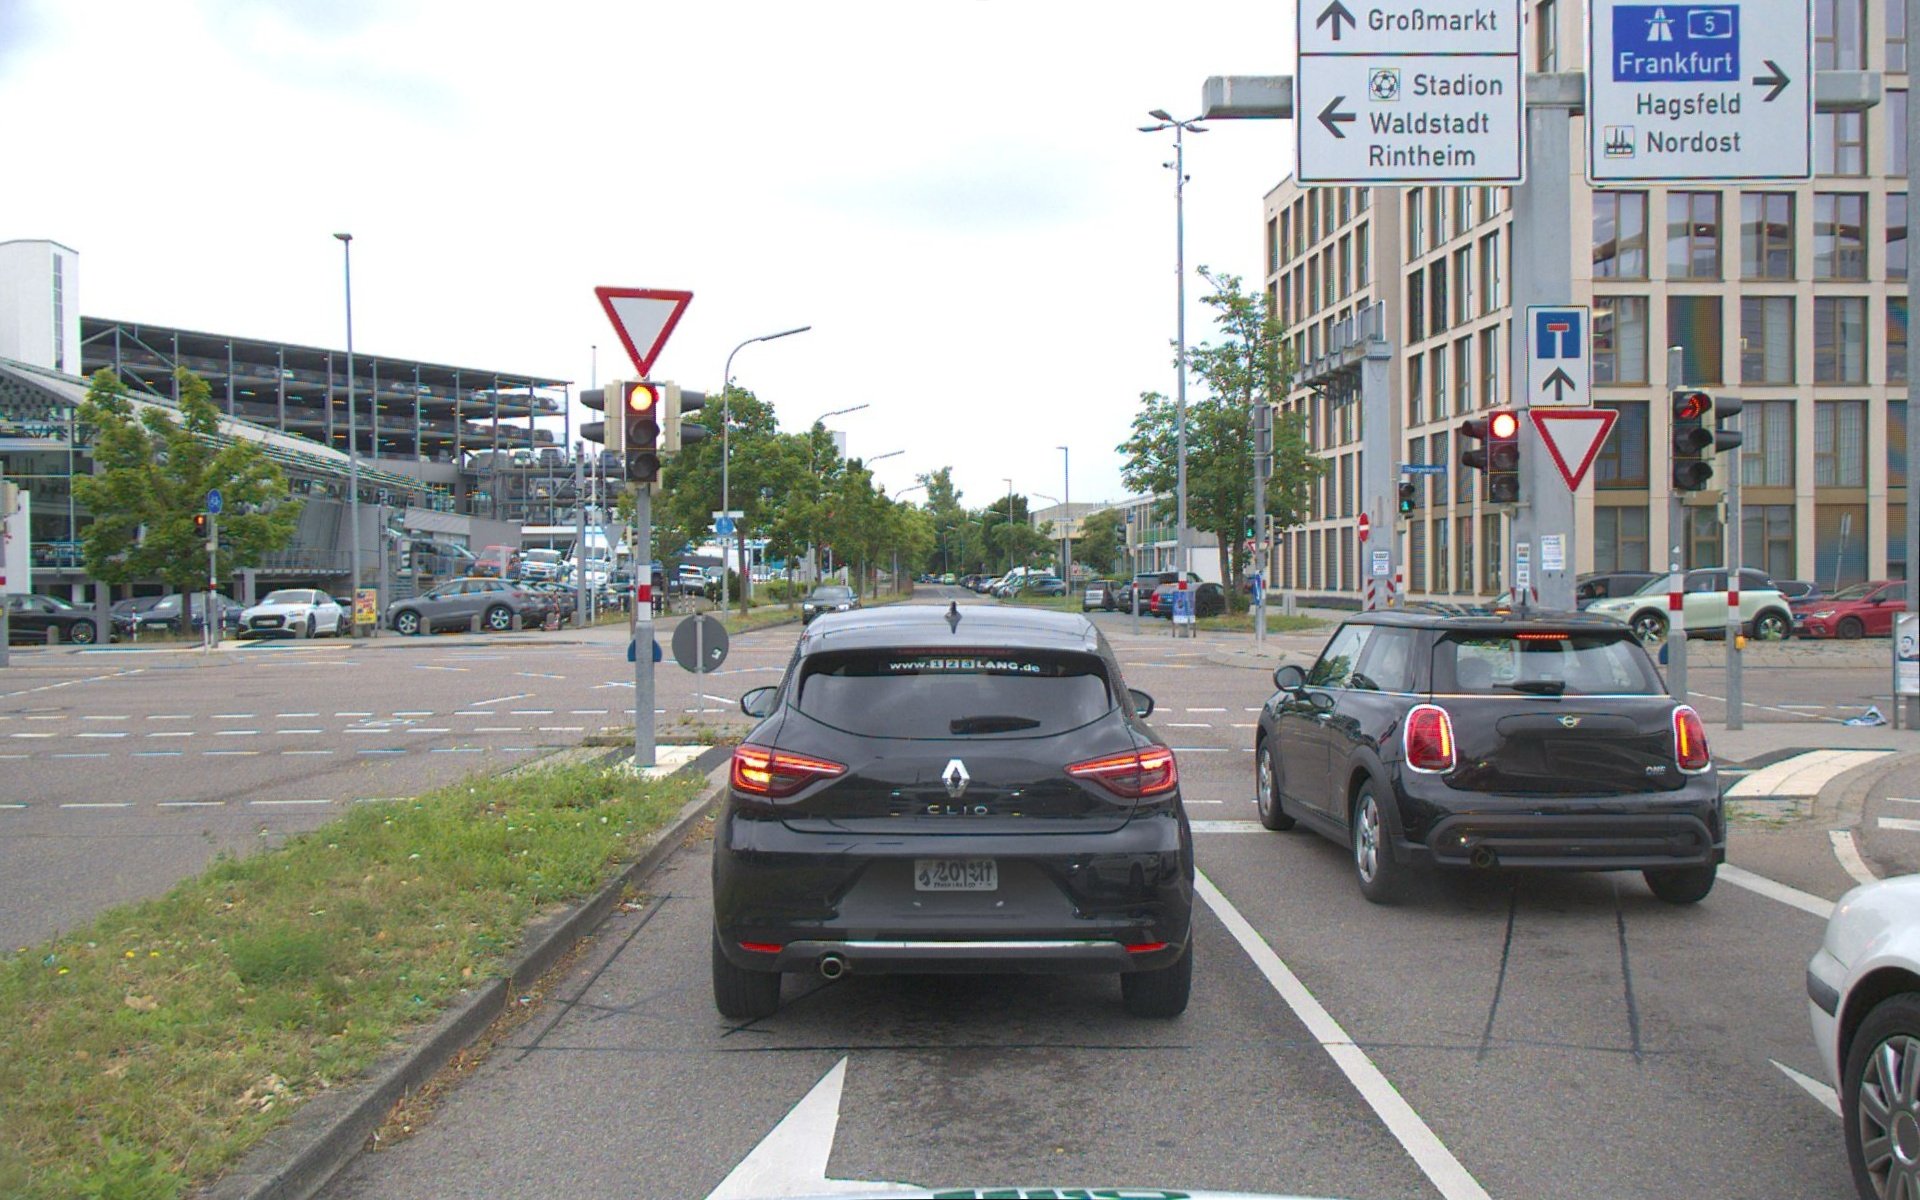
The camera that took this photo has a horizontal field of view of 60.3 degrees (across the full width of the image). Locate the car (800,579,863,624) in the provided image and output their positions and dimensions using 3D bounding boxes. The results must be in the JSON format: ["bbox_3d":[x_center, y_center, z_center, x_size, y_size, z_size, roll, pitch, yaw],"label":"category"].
[{"bbox_3d":[-4.695,0.026,60.853,1.938,1.578,4.614,0,1,0],"label":"car"}]

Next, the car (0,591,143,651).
[{"bbox_3d":[-25.321,0.601,45.594,4.646,1.512,1.891,-1,-2,-4],"label":"car"}]

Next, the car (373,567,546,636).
[{"bbox_3d":[-15.278,0.040,50.722,4.680,1.895,1.998,-2,0,-6],"label":"car"}]

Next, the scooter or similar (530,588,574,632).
[{"bbox_3d":[-11.858,0.276,48.105,0.545,1.240,1.561,2,1,13],"label":"scooter or similar"}]

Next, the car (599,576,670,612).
[{"bbox_3d":[-19.370,-0.349,98.601,3.908,2.049,1.999,1,0,-4],"label":"car"}]

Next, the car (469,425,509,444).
[{"bbox_3d":[-49.441,-17.393,173.663,3.914,1.696,1.996,1,1,31],"label":"car"}]

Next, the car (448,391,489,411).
[{"bbox_3d":[-50.931,-20.658,171.462,3.914,1.696,1.996,1,1,31],"label":"car"}]

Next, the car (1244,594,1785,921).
[{"bbox_3d":[2.805,0.714,9.243,1.749,1.440,3.642,1,0,-1],"label":"car"}]

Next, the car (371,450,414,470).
[{"bbox_3d":[-55.742,-13.761,162.364,3.914,1.696,1.996,1,1,31],"label":"car"}]

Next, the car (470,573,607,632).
[{"bbox_3d":[-16.319,0.078,64.221,4.798,2.049,1.998,-2,0,-6],"label":"car"}]

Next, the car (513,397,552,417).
[{"bbox_3d":[-46.306,-20.899,179.202,3.914,1.696,1.996,1,1,31],"label":"car"}]

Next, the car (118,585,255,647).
[{"bbox_3d":[-21.344,0.473,45.844,2.023,1.512,4.510,-2,-2,-6],"label":"car"}]

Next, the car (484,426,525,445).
[{"bbox_3d":[-48.376,-17.449,175.637,3.914,1.696,1.996,1,1,31],"label":"car"}]

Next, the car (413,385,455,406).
[{"bbox_3d":[-53.081,-20.610,166.827,3.914,1.696,1.996,1,1,31],"label":"car"}]

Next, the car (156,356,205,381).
[{"bbox_3d":[-67.162,-19.940,142.435,3.914,1.696,1.996,1,1,31],"label":"car"}]

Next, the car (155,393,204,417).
[{"bbox_3d":[-67.182,-16.775,142.339,3.914,1.696,1.996,1,1,31],"label":"car"}]

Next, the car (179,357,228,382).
[{"bbox_3d":[-66.152,-20.131,144.630,3.914,1.696,1.996,1,1,31],"label":"car"}]

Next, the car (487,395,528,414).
[{"bbox_3d":[-48.098,-20.773,175.820,3.914,1.696,1.996,1,1,31],"label":"car"}]

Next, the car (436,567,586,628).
[{"bbox_3d":[-15.933,-0.091,58.918,4.853,1.909,2.051,-2,0,-7],"label":"car"}]

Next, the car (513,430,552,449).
[{"bbox_3d":[-46.298,-17.353,179.019,3.914,1.696,1.996,1,1,31],"label":"car"}]

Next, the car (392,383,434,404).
[{"bbox_3d":[-54.397,-20.559,164.505,3.914,1.696,1.996,1,1,31],"label":"car"}]

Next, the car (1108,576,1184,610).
[{"bbox_3d":[8.774,-0.317,77.760,1.667,1.537,3.794,-1,0,42],"label":"car"}]

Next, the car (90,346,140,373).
[{"bbox_3d":[-70.382,-20.017,137.732,3.914,1.696,1.996,1,1,31],"label":"car"}]

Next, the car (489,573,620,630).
[{"bbox_3d":[-16.359,0.058,66.940,4.798,2.049,1.998,-2,0,-6],"label":"car"}]

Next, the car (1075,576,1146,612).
[{"bbox_3d":[7.663,-0.296,84.055,3.405,1.762,1.739,1,-1,-43],"label":"car"}]

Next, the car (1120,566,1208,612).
[{"bbox_3d":[9.207,-0.489,74.364,1.963,2.000,4.221,-1,0,41],"label":"car"}]

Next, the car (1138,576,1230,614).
[{"bbox_3d":[9.665,-0.204,71.169,1.857,1.578,4.105,-1,0,44],"label":"car"}]

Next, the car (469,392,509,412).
[{"bbox_3d":[-49.452,-20.810,173.691,3.914,1.696,1.996,1,1,31],"label":"car"}]

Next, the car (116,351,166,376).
[{"bbox_3d":[-69.306,-19.988,139.924,3.914,1.696,1.996,1,1,31],"label":"car"}]

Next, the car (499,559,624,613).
[{"bbox_3d":[-16.746,-0.571,69.758,4.798,2.049,1.998,-2,0,-6],"label":"car"}]

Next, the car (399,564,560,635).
[{"bbox_3d":[-15.417,-0.032,53.289,4.610,2.049,1.998,-2,0,-5],"label":"car"}]

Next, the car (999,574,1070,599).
[{"bbox_3d":[5.536,-1.003,123.653,5.070,1.750,2.142,1,0,-3],"label":"car"}]

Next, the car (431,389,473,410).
[{"bbox_3d":[-52.046,-20.532,169.467,3.914,1.696,1.996,1,1,31],"label":"car"}]

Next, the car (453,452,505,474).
[{"bbox_3d":[-50.656,-14.404,174.118,5.212,1.979,2.208,1,1,28],"label":"car"}]

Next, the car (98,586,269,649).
[{"bbox_3d":[-25.799,0.558,55.057,4.706,1.973,1.999,-1,1,-4],"label":"car"}]

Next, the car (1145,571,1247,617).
[{"bbox_3d":[9.563,-0.233,66.780,4.096,1.799,1.861,0,0,-41],"label":"car"}]

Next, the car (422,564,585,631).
[{"bbox_3d":[-15.481,-0.082,56.296,4.925,2.049,2.263,-2,0,-5],"label":"car"}]

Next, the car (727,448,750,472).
[{"bbox_3d":[-21.196,-13.366,158.541,1.955,1.915,3.996,-1,0,-5],"label":"car"}]

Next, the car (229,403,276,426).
[{"bbox_3d":[-63.561,-16.691,148.570,3.914,1.696,1.996,1,1,31],"label":"car"}]

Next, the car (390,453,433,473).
[{"bbox_3d":[-54.672,-13.656,164.813,3.914,1.696,1.996,1,1,31],"label":"car"}]

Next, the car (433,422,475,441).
[{"bbox_3d":[-51.762,-17.227,169.143,3.914,1.696,1.996,1,1,31],"label":"car"}]

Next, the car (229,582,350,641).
[{"bbox_3d":[-18.593,0.343,46.076,1.832,1.512,4.226,-1,-1,-4],"label":"car"}]

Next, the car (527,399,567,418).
[{"bbox_3d":[-45.239,-20.922,181.162,3.914,1.696,1.996,1,1,31],"label":"car"}]

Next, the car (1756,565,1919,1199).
[{"bbox_3d":[3.030,0.684,2.373,1.795,1.504,4.004,1,0,-1],"label":"car"}]

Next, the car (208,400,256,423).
[{"bbox_3d":[-64.538,-16.712,146.566,3.914,1.696,1.996,1,1,31],"label":"car"}]
